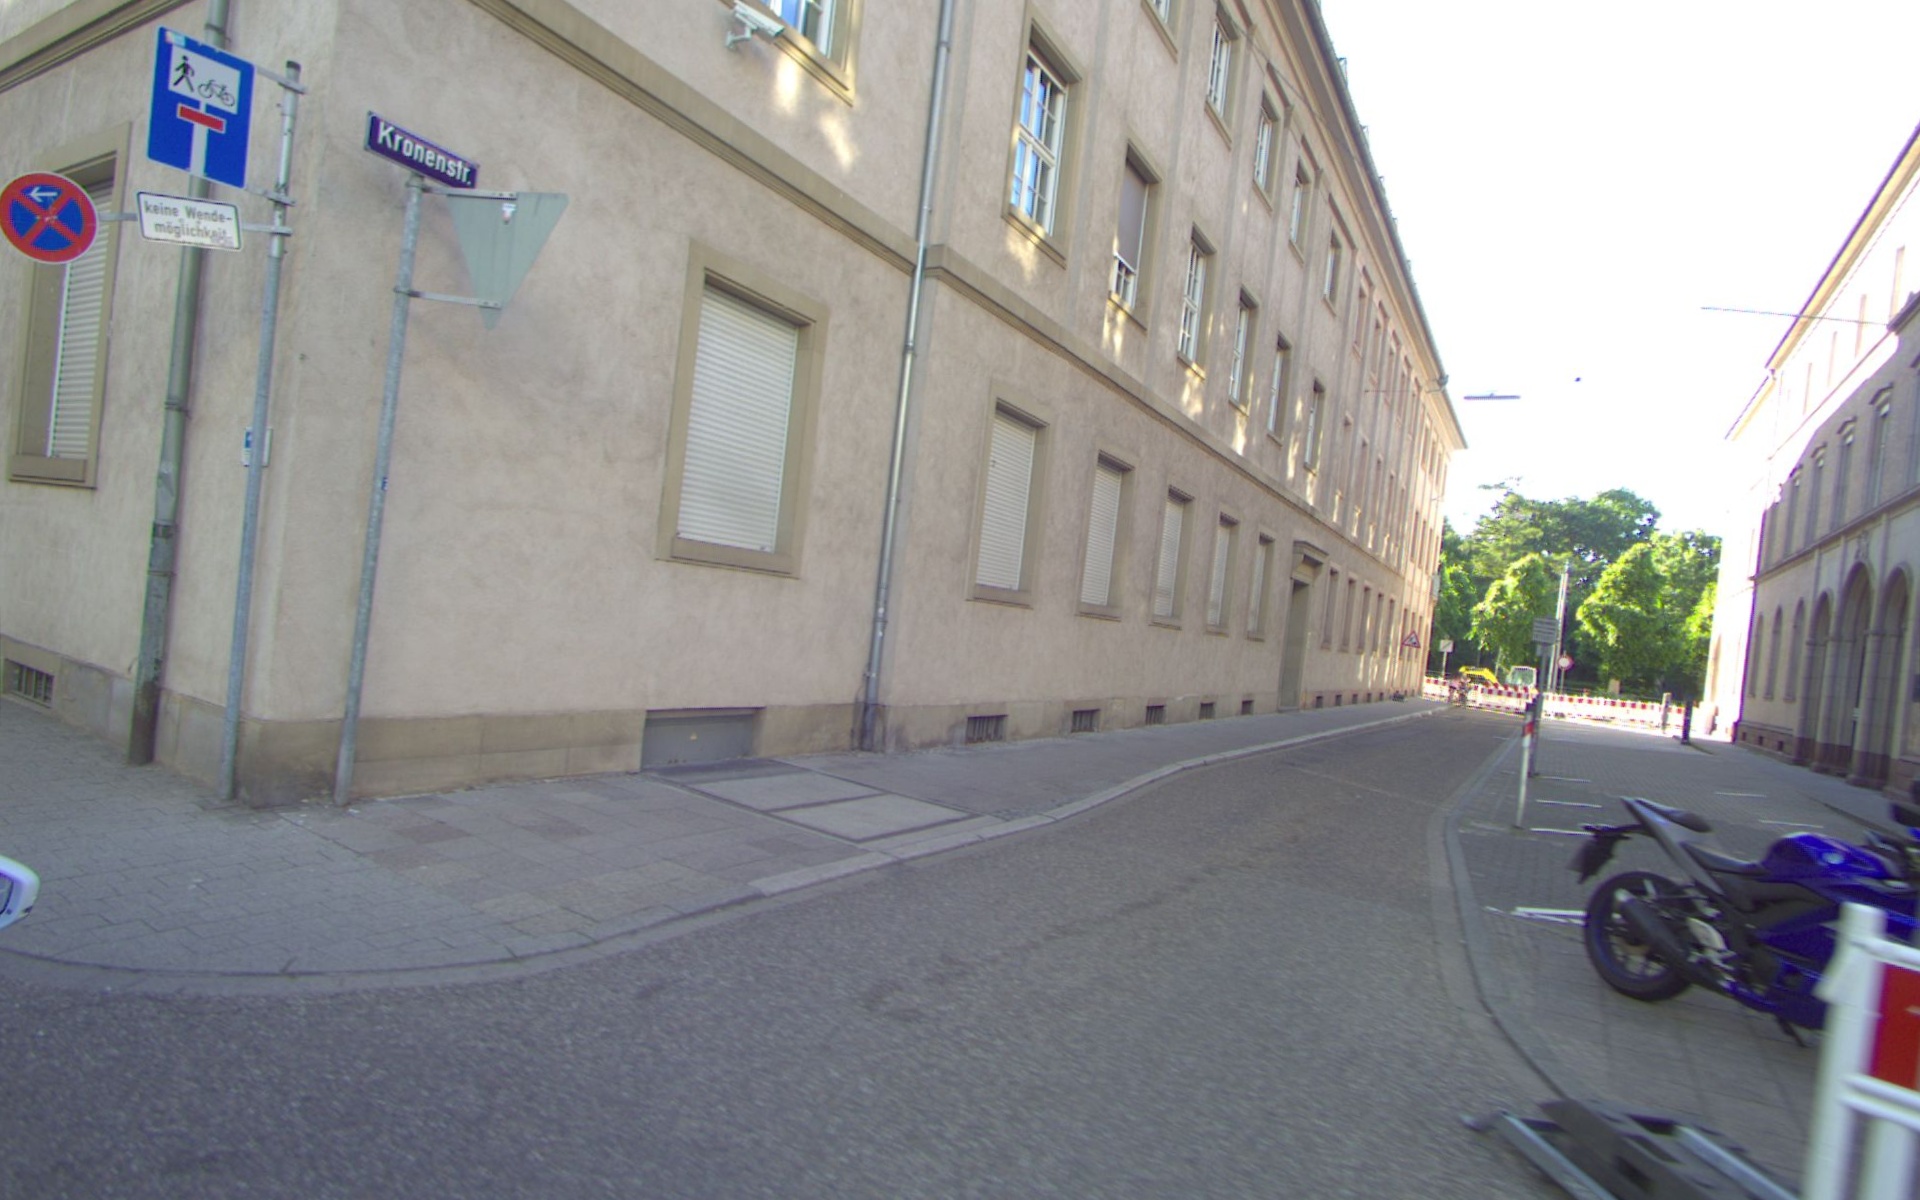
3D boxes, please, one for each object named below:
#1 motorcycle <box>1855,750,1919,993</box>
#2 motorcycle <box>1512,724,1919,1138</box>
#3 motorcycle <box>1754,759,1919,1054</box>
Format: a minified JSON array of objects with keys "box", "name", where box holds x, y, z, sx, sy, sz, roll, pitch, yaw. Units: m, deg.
[{"box":[5.961,1.588,4.954,0.816,1.304,2.138,6,0,-14],"name":"motorcycle"},{"box":[3.715,1.335,4.516,0.861,1.240,2.144,4,0,-14],"name":"motorcycle"},{"box":[4.923,1.522,4.513,0.816,1.240,1.949,6,0,-14],"name":"motorcycle"}]
